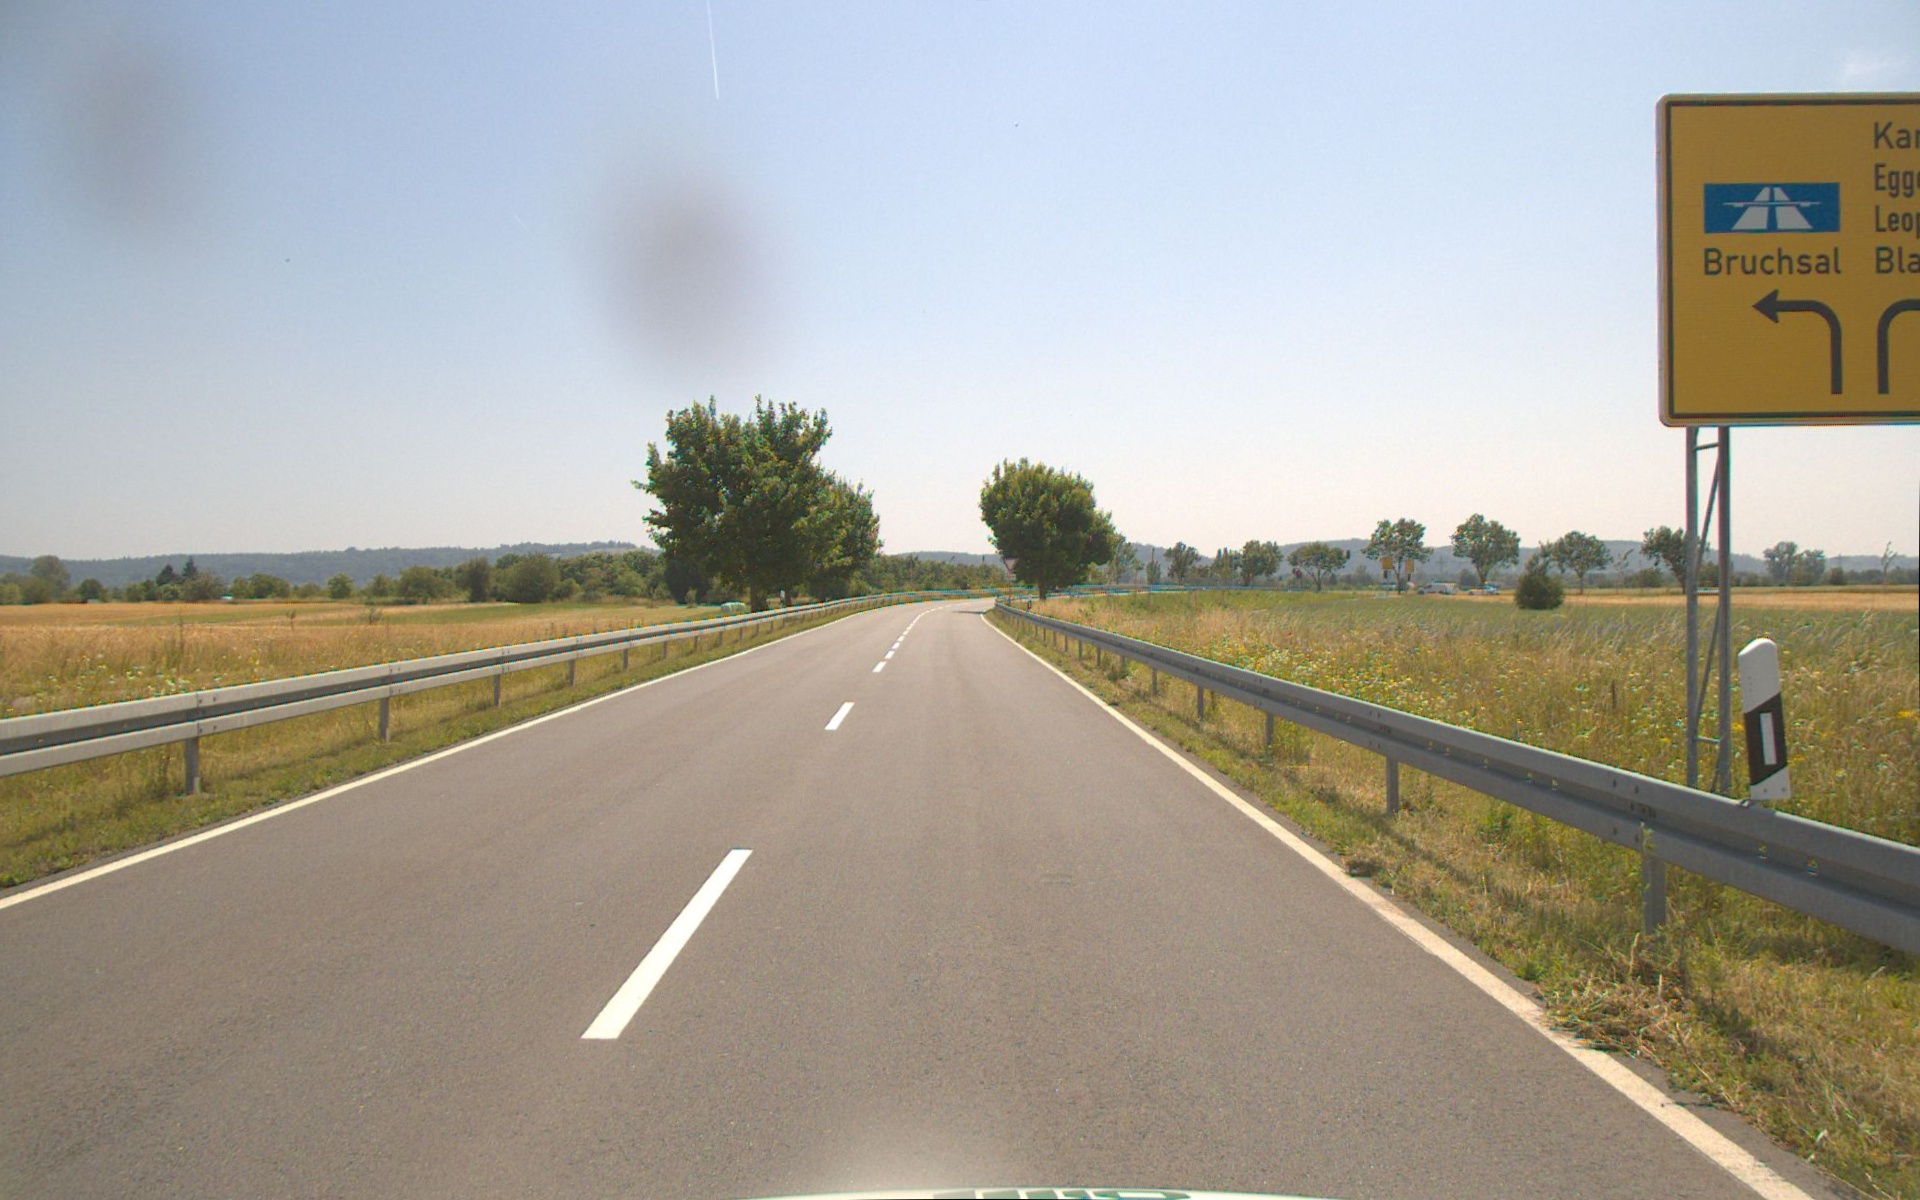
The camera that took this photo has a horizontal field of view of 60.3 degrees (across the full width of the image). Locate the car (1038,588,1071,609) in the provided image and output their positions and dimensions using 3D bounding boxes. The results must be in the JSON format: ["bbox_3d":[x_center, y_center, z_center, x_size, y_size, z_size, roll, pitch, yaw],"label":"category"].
[{"bbox_3d":[9.774,-0.190,171.194,1.955,2.049,3.994,1,-1,28],"label":"car"}]
